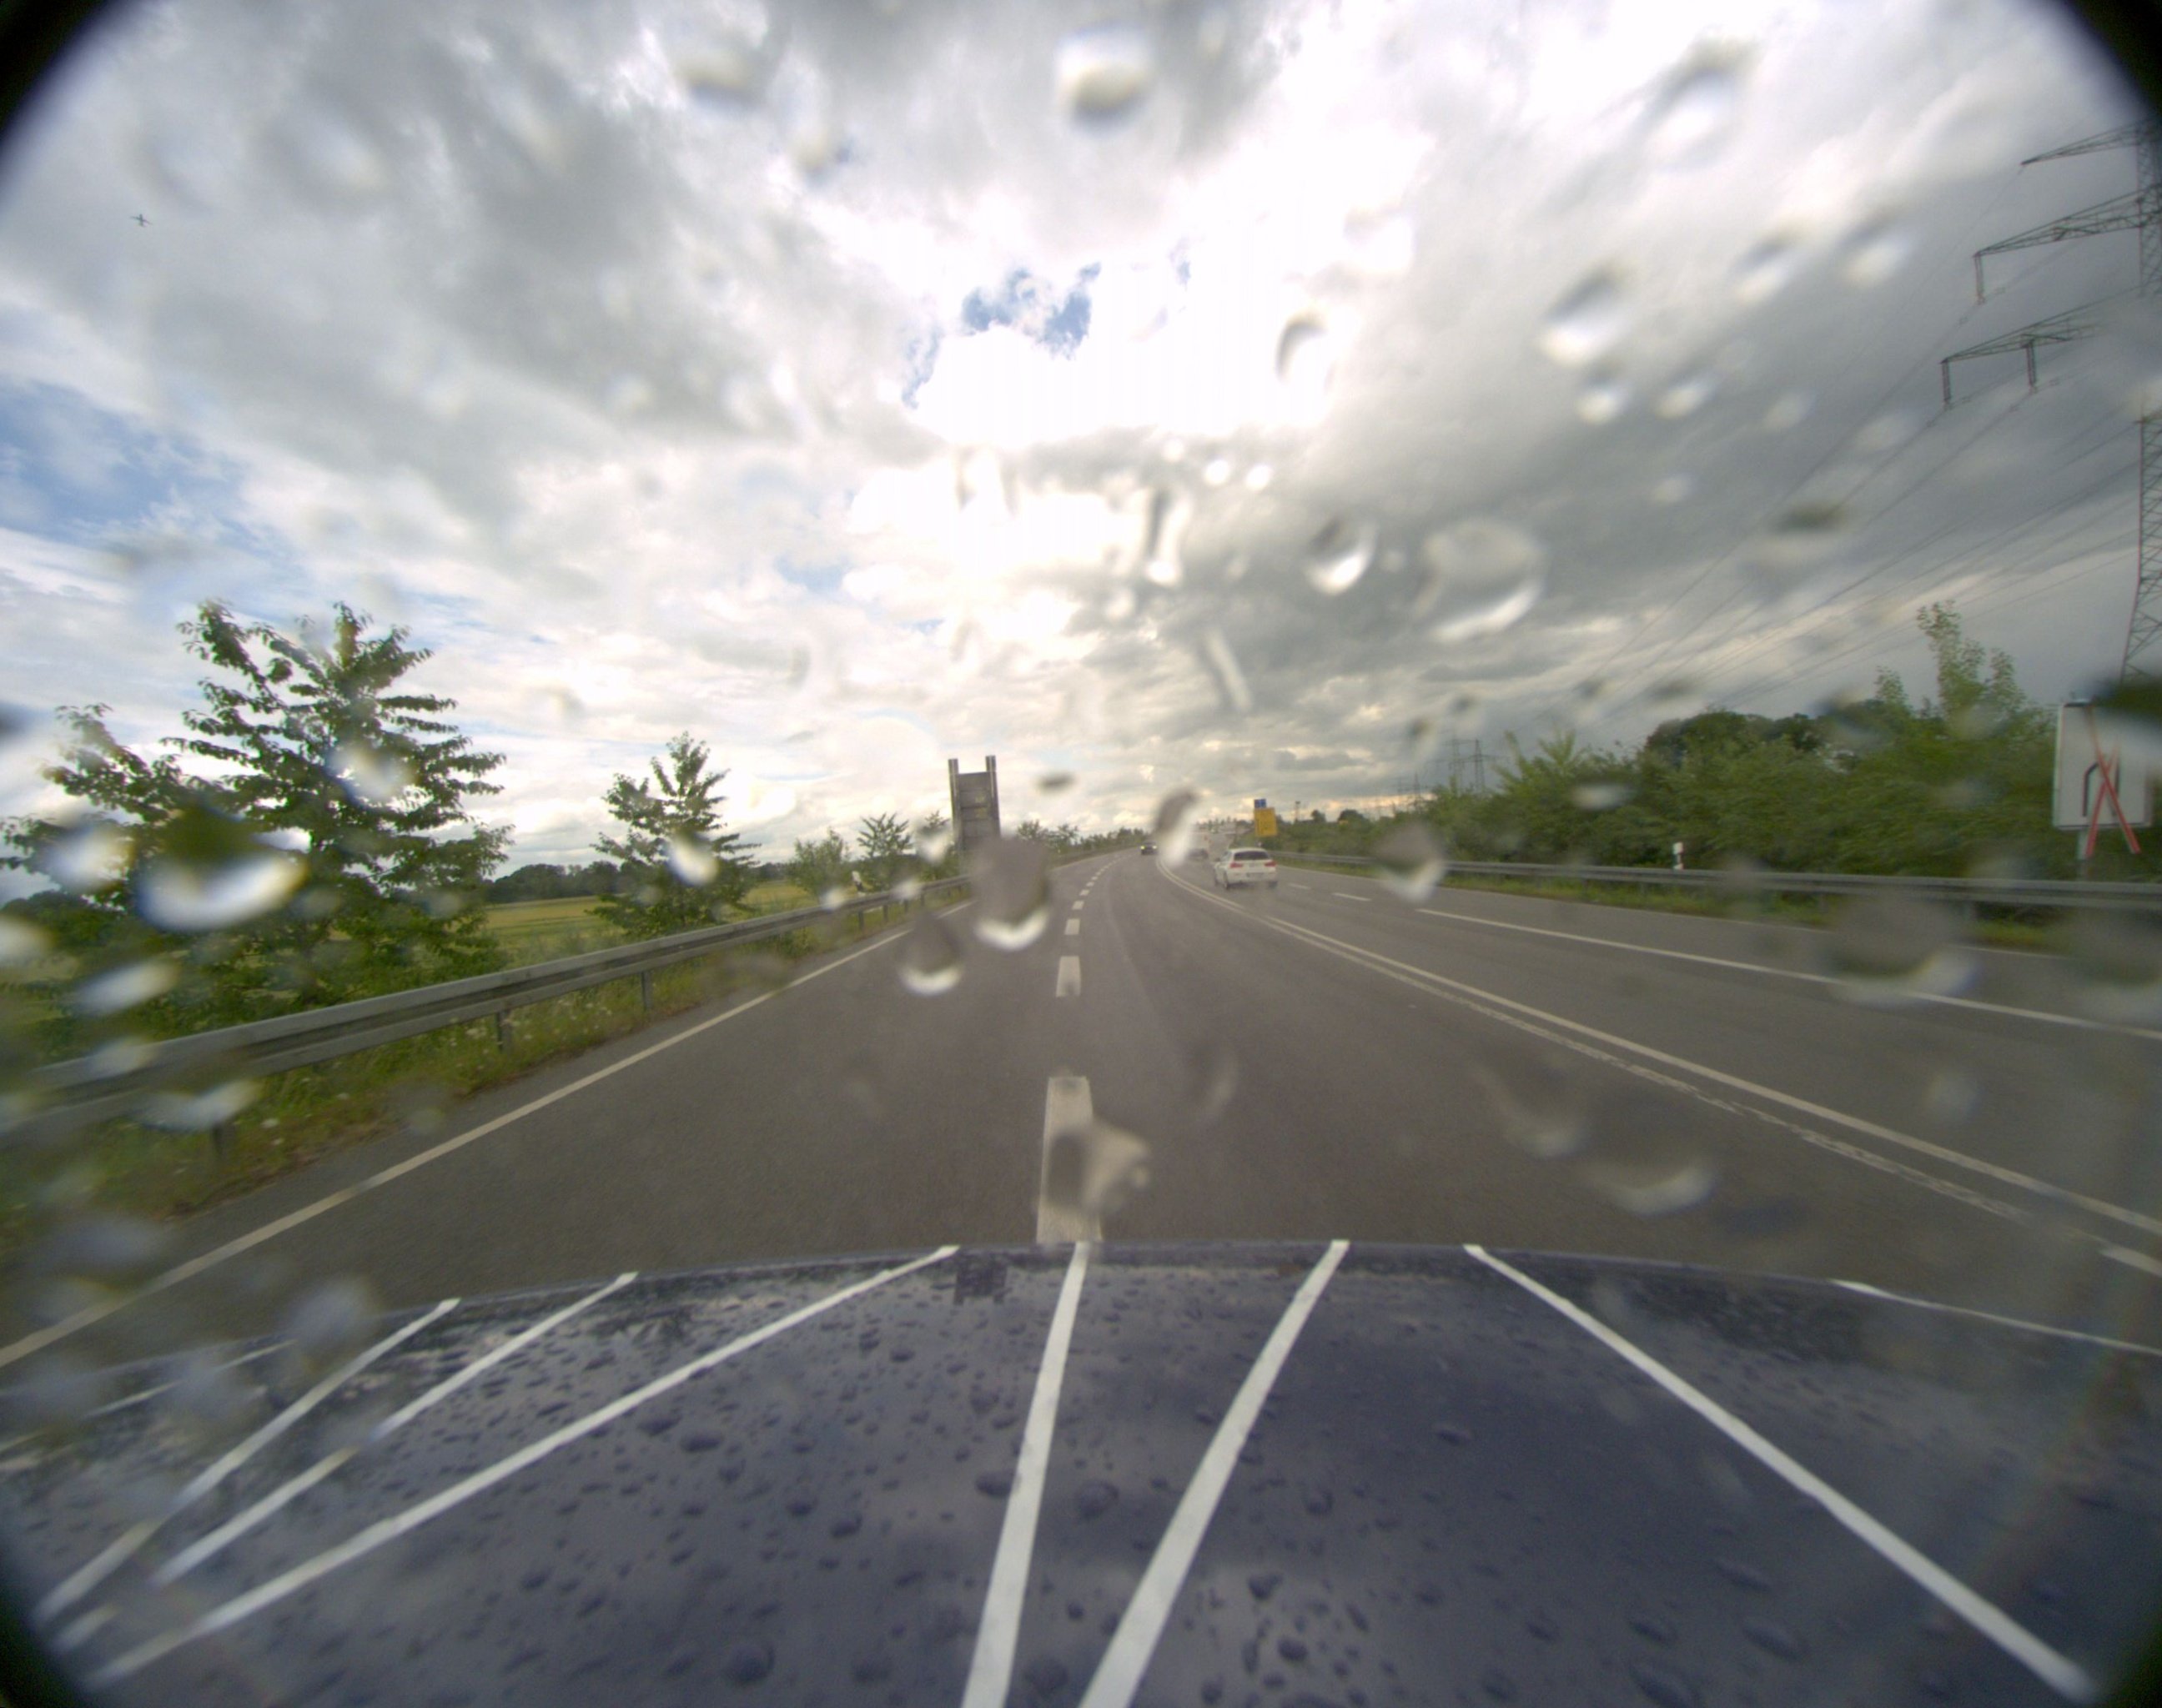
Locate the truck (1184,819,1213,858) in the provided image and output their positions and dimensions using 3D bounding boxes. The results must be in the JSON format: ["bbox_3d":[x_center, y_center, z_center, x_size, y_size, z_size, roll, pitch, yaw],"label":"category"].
[{"bbox_3d":[10.214,-1.367,66.361,2.260,3.138,6.692,-1,1,7],"label":"truck"}]

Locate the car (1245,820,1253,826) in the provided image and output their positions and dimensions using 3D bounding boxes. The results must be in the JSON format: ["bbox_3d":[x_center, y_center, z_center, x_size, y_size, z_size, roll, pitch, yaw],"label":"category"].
[{"bbox_3d":[53.432,-9.877,241.783,1.898,1.433,4.905,-5,2,21],"label":"car"}]

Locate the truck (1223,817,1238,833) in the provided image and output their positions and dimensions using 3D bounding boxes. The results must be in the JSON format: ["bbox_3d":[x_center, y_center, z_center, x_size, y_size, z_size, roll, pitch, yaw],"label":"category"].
[{"bbox_3d":[30.997,-5.953,157.615,2.484,3.273,7.287,-1,1,15],"label":"truck"}]

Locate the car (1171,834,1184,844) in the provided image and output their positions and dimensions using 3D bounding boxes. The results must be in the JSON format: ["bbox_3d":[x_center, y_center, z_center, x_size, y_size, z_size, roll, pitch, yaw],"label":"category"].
[{"bbox_3d":[16.771,-2.604,131.855,1.747,1.488,4.053,-3,0,13],"label":"car"}]

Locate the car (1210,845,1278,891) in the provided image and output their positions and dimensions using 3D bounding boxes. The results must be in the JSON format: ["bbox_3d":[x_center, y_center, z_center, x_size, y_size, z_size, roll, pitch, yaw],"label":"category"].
[{"bbox_3d":[5.891,0.462,27.885,1.683,1.449,4.074,-2,1,1],"label":"car"}]

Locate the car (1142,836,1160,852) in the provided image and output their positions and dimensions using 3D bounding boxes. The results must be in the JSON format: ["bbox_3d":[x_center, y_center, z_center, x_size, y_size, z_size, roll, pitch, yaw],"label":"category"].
[{"bbox_3d":[8.381,-1.212,90.242,1.795,1.758,4.002,-3,0,8],"label":"car"}]
